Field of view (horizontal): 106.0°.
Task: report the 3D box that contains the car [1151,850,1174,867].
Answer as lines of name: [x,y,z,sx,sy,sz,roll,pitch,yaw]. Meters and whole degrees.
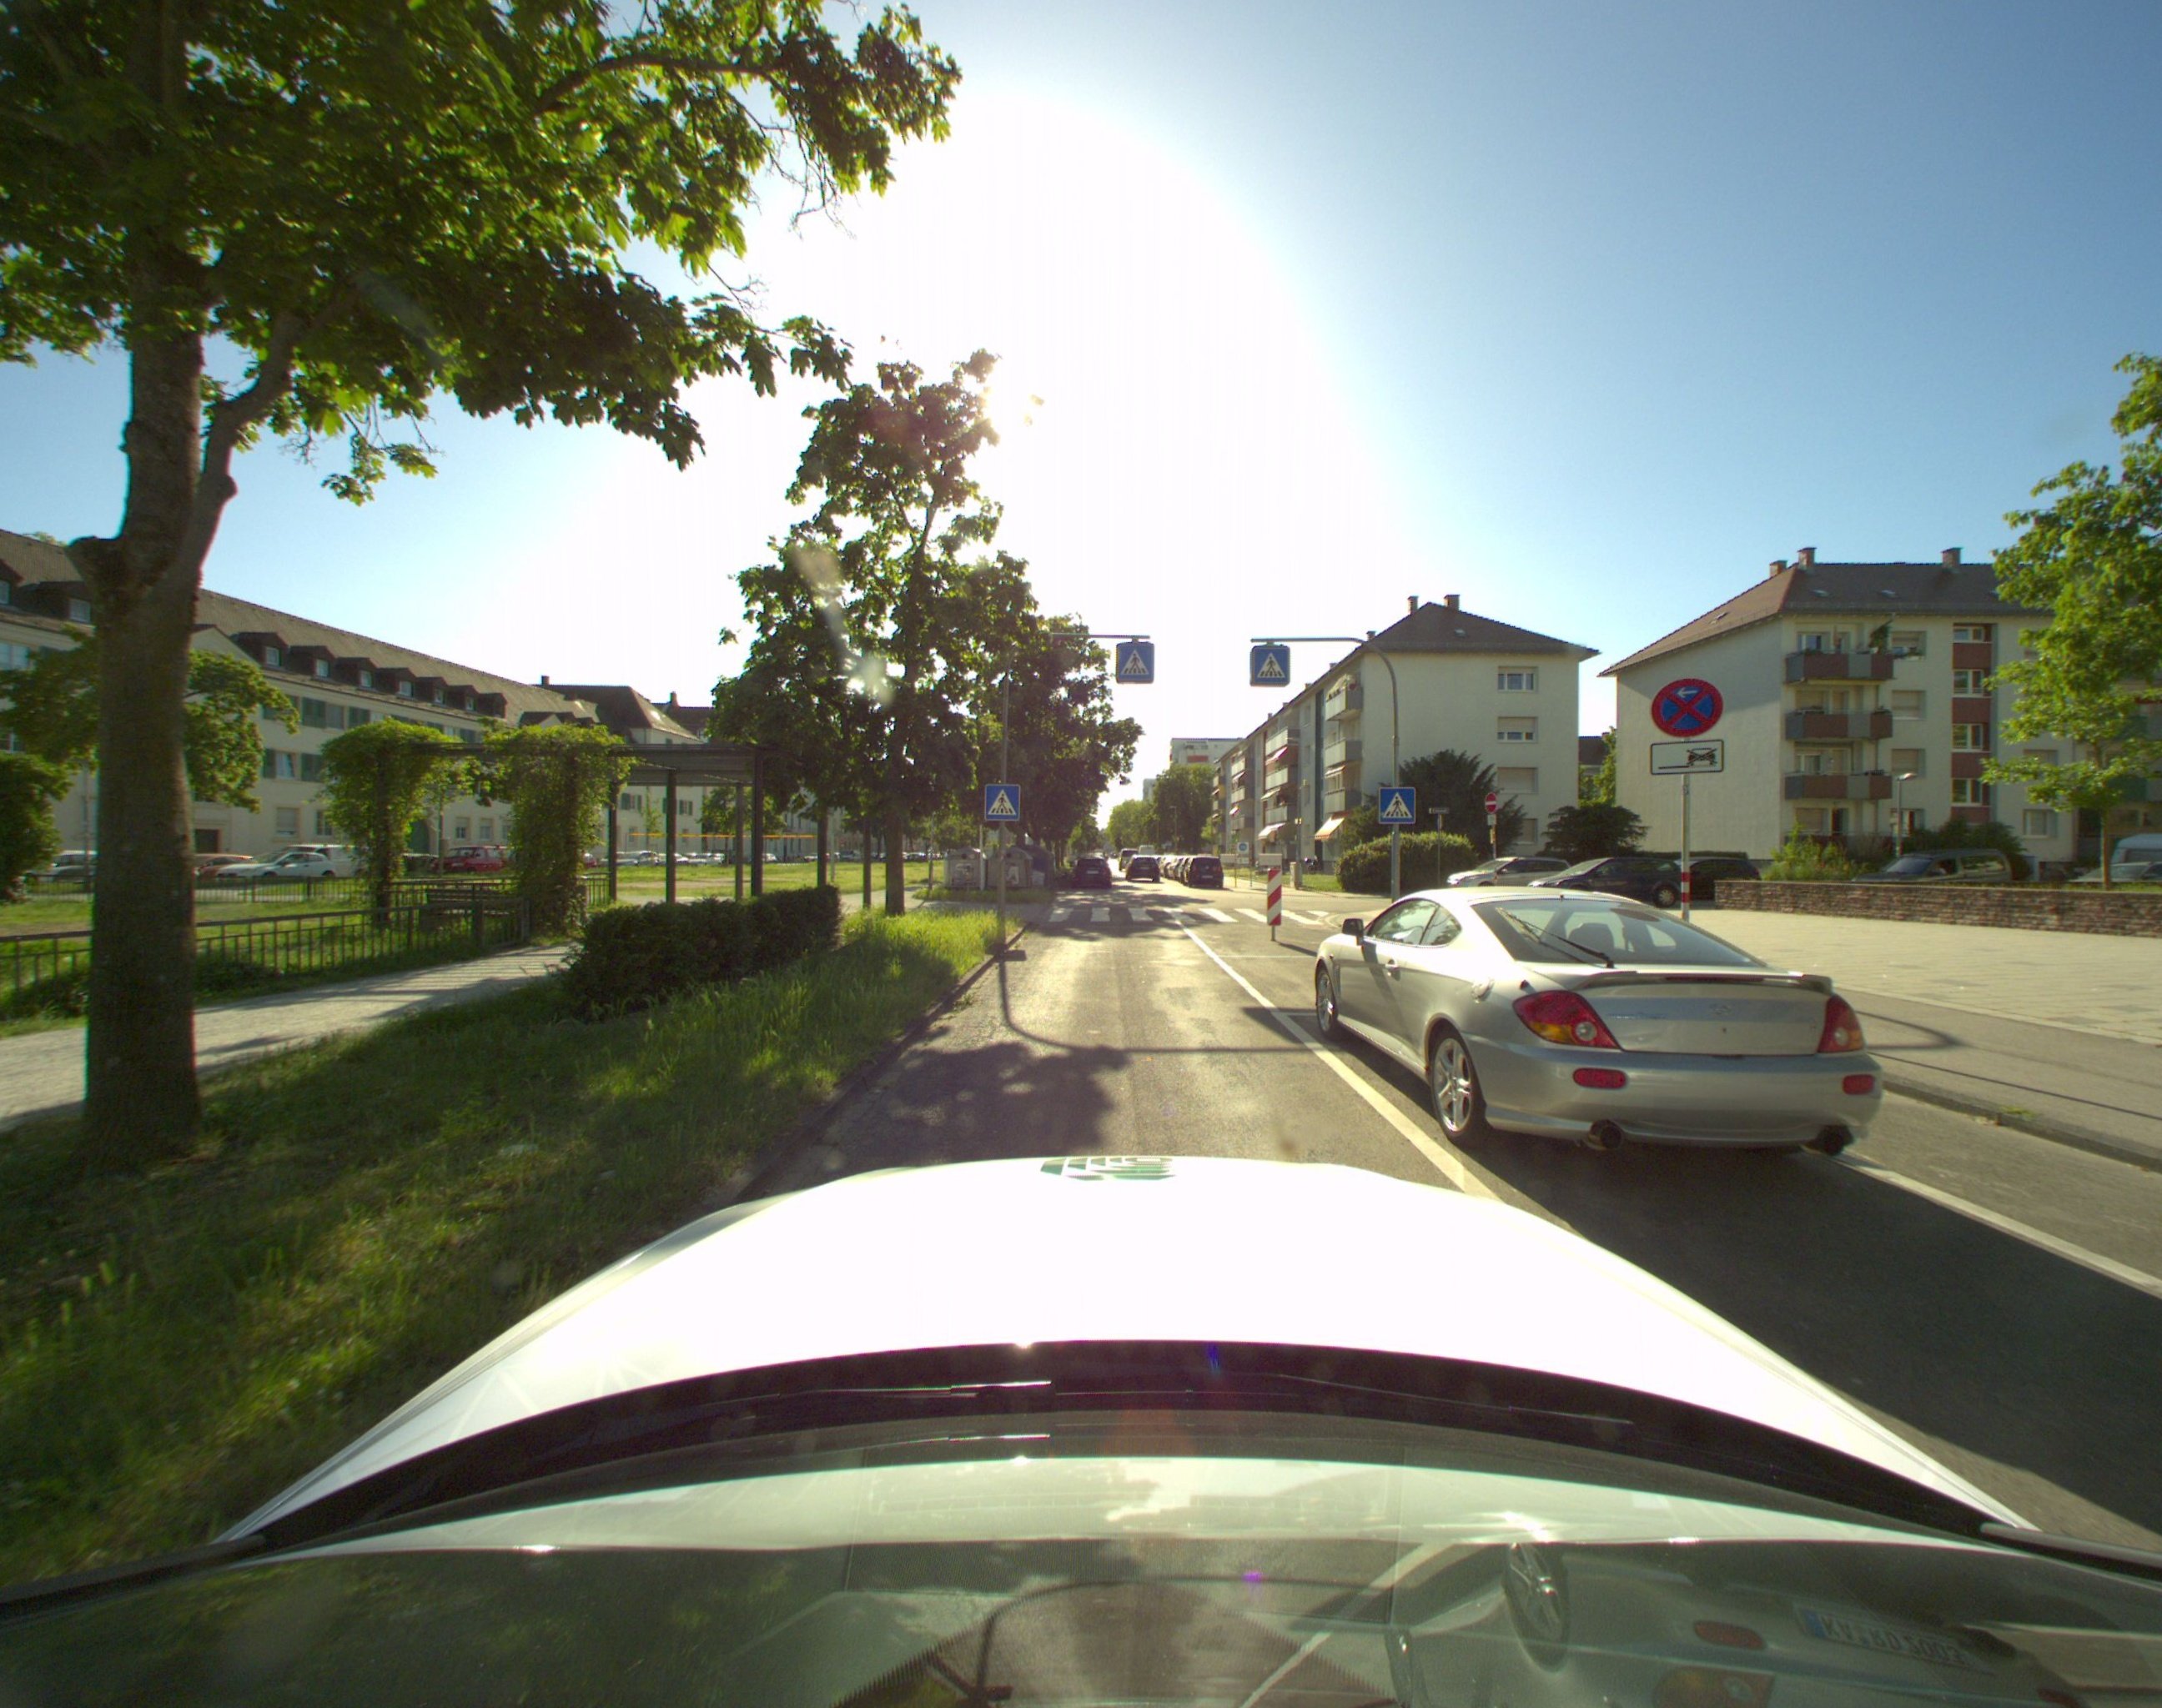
car: [7.395,0.409,74.141,1.787,1.510,4.002,0,0,2]

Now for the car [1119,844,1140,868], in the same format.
car: [4.309,0.153,72.549,1.787,2.122,4.002,0,0,2]

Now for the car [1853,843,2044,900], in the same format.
car: [28.526,0.578,26.880,4.467,1.822,1.799,0,-2,-1]

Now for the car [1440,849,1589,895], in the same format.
car: [15.599,0.655,29.438,4.467,1.622,1.799,0,-2,-1]

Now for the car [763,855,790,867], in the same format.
car: [-38.796,0.902,103.870,1.787,1.510,4.002,0,0,2]

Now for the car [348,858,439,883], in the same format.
car: [-39.791,0.932,47.257,1.787,1.384,4.002,0,0,2]

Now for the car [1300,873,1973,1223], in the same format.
car: [2.826,0.835,5.412,1.758,1.319,4.170,1,0,2]

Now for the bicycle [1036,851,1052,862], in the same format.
bicycle: [-5.176,0.326,114.366,2.317,1.540,0.630,-1,0,-3]

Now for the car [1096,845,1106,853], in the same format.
car: [3.959,-0.988,161.642,1.787,1.510,4.002,-1,0,2]

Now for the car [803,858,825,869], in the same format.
car: [-37.879,1.338,115.577,1.788,1.510,4.001,0,0,1]

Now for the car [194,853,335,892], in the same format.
car: [-33.983,0.725,34.076,1.787,1.510,4.002,0,0,2]

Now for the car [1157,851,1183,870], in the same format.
car: [7.223,0.485,66.490,1.787,1.510,4.002,0,0,2]

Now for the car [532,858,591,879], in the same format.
car: [-39.582,1.097,62.166,1.787,1.510,4.002,0,0,2]

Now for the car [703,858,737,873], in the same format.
car: [-39.158,1.219,88.380,1.787,1.510,4.002,0,0,2]

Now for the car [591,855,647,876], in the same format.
car: [-34.200,0.841,60.444,1.787,1.510,4.002,0,0,2]

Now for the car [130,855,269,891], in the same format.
car: [-39.304,0.812,36.455,1.787,1.510,4.002,0,0,2]

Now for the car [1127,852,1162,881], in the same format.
car: [3.494,0.661,45.361,1.787,1.510,4.002,0,0,2]

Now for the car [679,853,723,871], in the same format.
car: [-33.251,0.702,71.384,1.787,1.510,4.002,0,0,2]

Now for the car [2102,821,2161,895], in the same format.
car: [41.230,0.151,29.513,5.546,2.618,2.363,0,-2,-1]

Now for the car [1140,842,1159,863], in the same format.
car: [8.107,-0.151,97.196,1.986,2.430,4.502,2,0,2]

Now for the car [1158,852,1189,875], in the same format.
car: [6.272,0.594,55.396,1.787,1.510,4.002,0,0,2]

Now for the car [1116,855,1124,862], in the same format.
car: [8.840,1.000,184.812,1.787,1.510,4.002,-1,0,2]

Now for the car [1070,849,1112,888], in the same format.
car: [0.499,0.600,36.698,1.787,1.624,4.002,0,0,2]

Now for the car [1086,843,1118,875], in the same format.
car: [1.424,0.318,54.068,1.986,2.013,4.002,-1,0,2]

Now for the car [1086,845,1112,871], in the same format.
car: [1.482,0.340,65.626,1.986,2.013,4.002,-1,0,2]

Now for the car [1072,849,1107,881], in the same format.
car: [0.518,0.565,44.042,1.787,1.624,4.002,0,0,2]

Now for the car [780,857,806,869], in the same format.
car: [-38.602,1.155,109.211,1.787,1.510,4.146,0,0,2]

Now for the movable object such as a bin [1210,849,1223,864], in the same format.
movable object such as a bin: [14.281,0.262,85.898,1.087,1.510,2.003,0,0,2]

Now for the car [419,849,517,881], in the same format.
car: [-33.934,0.567,45.262,1.787,1.710,4.705,0,0,2]

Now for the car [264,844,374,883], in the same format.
car: [-39.231,0.474,42.059,1.787,1.909,4.002,0,0,2]

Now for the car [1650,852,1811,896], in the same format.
car: [23.585,0.717,29.666,4.467,1.540,1.799,0,-2,-1]

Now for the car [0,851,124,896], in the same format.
car: [-39.610,0.692,30.942,1.789,1.611,3.999,0,0,0]

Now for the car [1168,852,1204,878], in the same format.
car: [6.346,0.644,49.668,1.787,1.510,4.002,0,0,2]

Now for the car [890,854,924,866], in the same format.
car: [-21.876,0.746,102.414,3.977,1.510,1.799,0,0,-2]

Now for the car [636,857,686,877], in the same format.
car: [-33.807,1.053,65.668,1.787,1.510,4.002,0,0,2]

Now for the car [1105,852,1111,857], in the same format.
car: [8.568,0.160,258.682,1.787,1.510,4.002,-1,0,2]

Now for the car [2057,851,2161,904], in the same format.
car: [32.398,0.702,24.292,4.467,1.510,1.799,0,-2,-1]

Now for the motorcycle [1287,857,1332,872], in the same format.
motorcycle: [14.319,0.645,51.080,2.551,0.935,0.830,0,0,-2]

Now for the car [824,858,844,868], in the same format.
car: [-38.045,1.323,125.401,1.787,1.510,4.002,0,0,2]

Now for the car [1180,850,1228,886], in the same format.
car: [5.788,0.628,38.716,1.787,1.601,4.002,0,0,2]
